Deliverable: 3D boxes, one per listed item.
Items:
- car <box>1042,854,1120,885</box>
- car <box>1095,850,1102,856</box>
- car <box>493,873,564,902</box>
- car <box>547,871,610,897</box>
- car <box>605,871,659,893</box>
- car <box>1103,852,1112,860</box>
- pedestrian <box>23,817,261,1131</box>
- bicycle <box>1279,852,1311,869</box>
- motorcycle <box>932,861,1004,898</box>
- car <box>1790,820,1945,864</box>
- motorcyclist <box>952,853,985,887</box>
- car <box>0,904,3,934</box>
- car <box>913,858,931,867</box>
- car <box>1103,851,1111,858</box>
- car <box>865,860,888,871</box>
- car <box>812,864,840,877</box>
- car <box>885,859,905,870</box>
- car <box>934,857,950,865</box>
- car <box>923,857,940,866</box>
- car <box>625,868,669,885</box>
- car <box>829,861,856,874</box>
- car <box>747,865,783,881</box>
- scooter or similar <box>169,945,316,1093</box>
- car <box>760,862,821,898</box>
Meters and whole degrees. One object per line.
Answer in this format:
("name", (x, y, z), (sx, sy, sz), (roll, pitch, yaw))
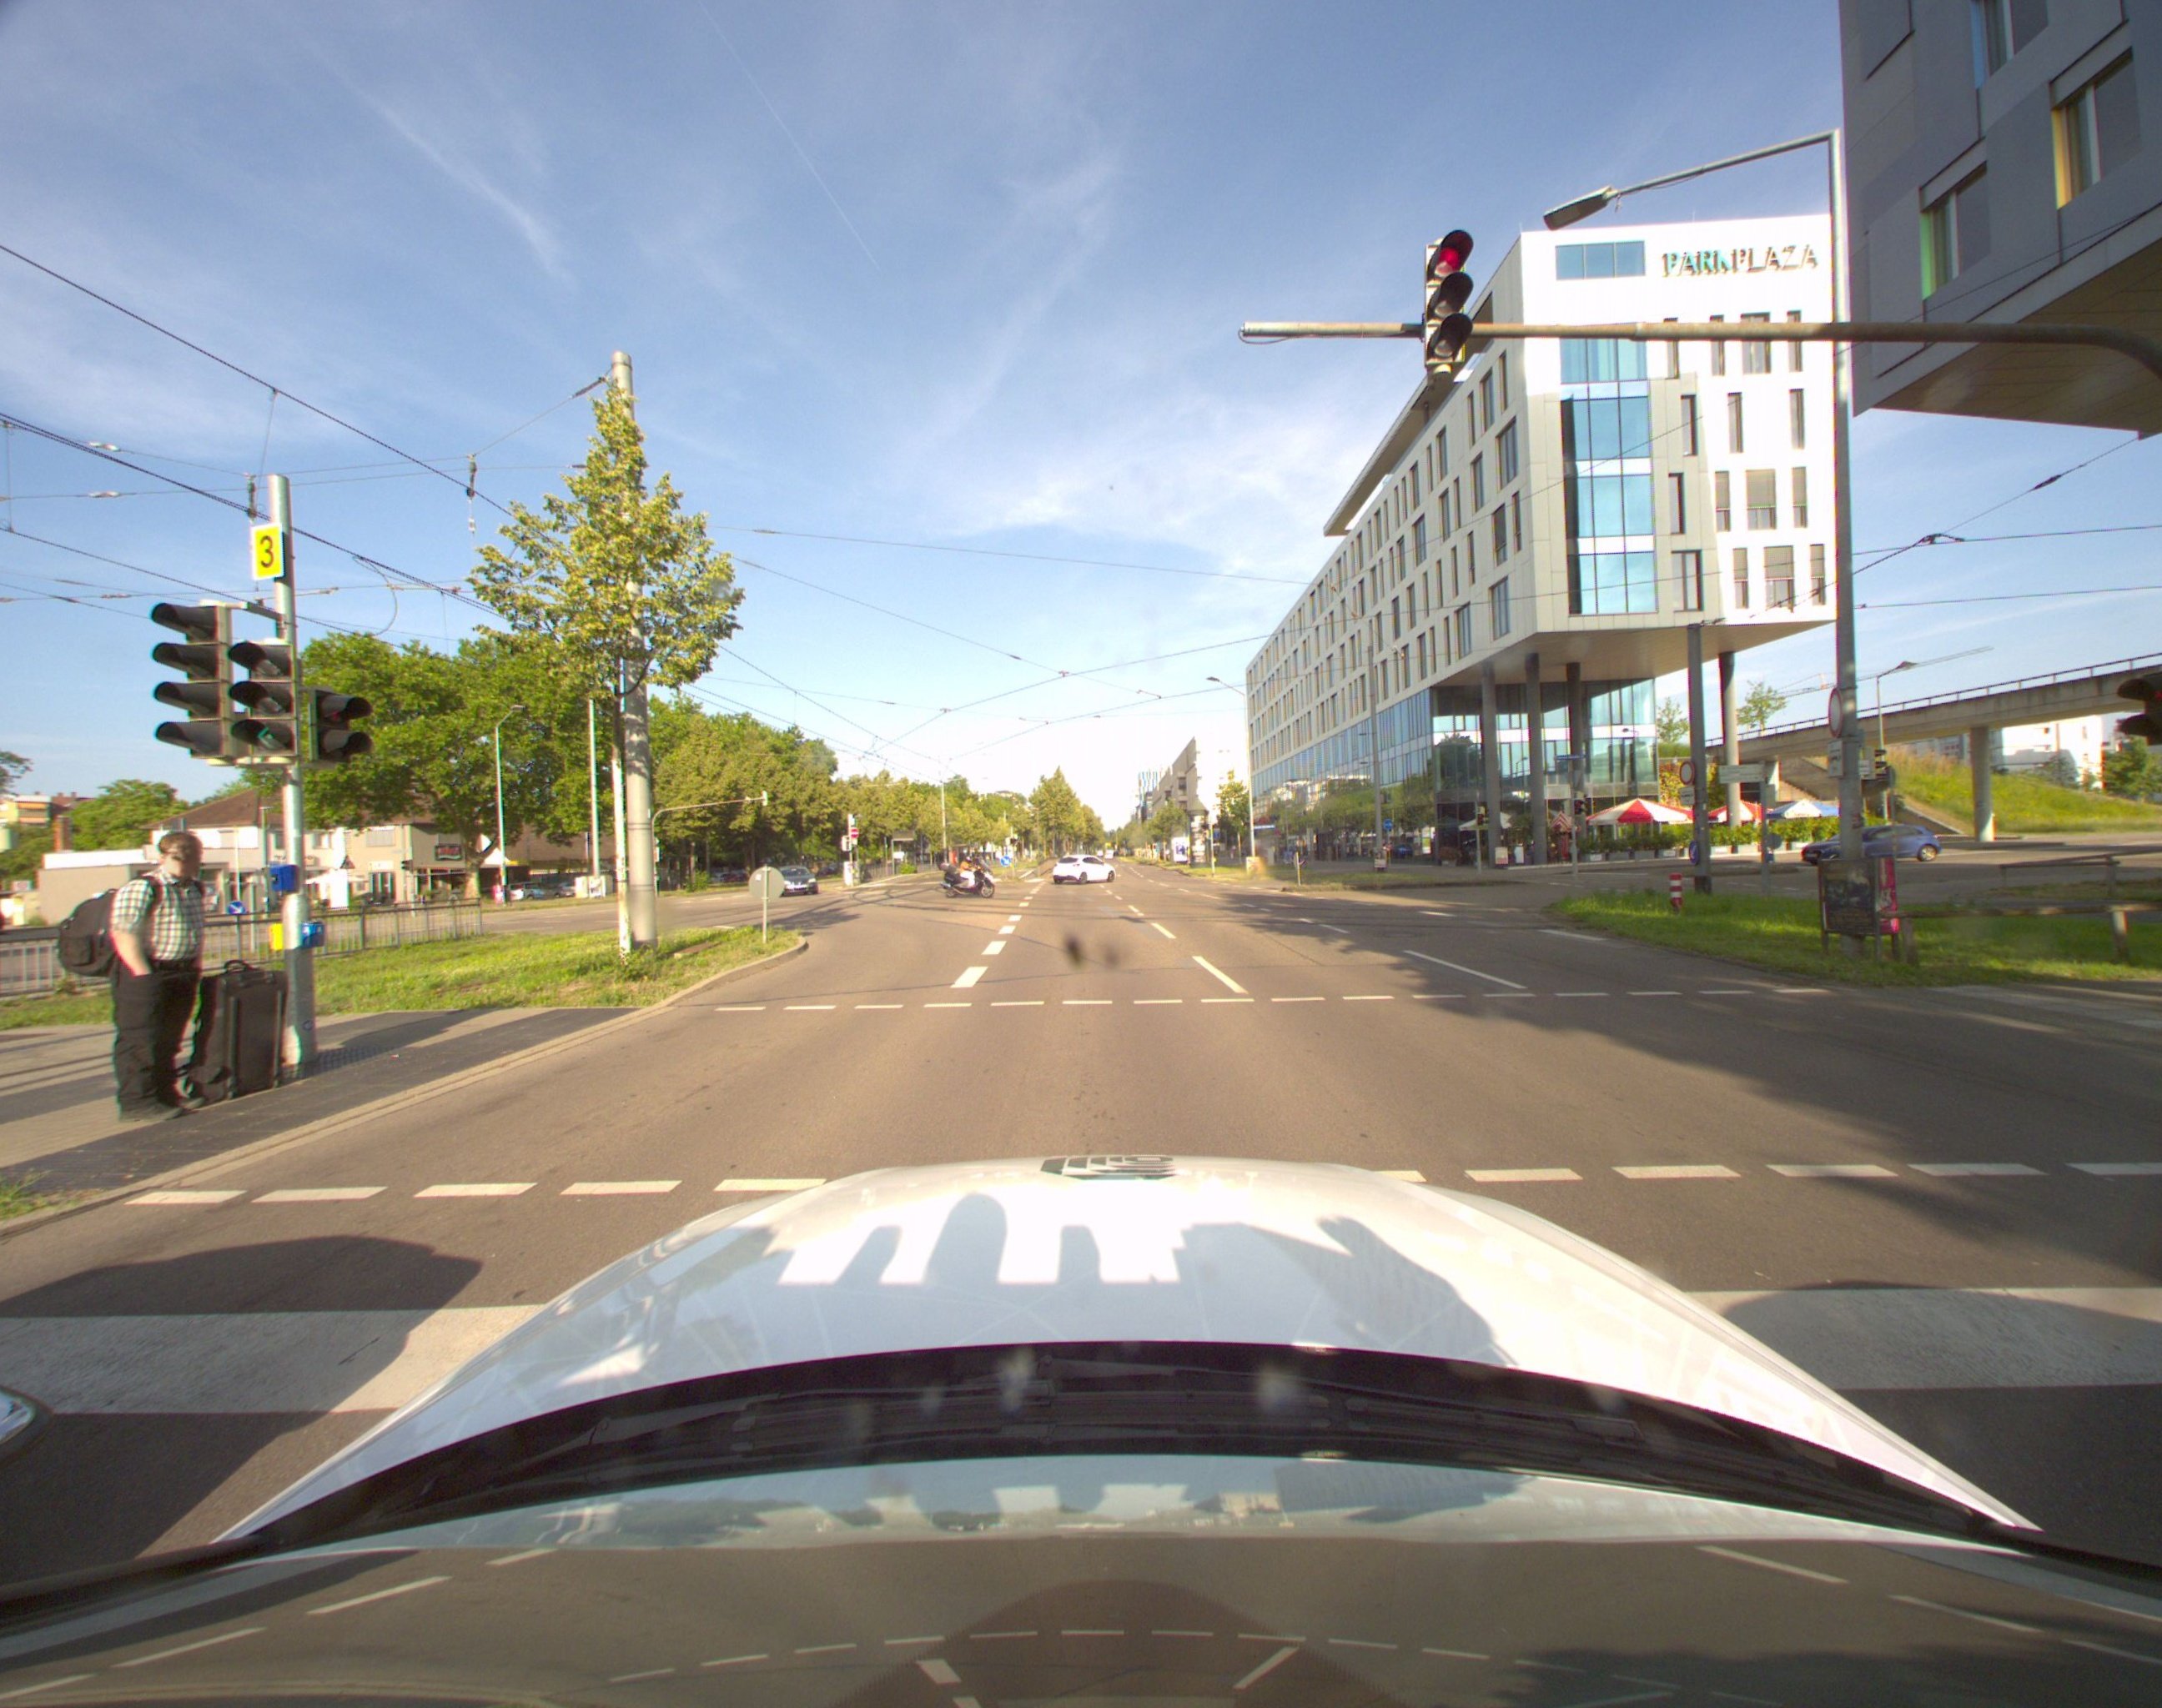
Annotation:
("car", (0.061, 0.753, 42.171), (1.974, 1.504, 4.119), (-1, 0, 36))
("car", (5.503, -0.312, 252.154), (2.007, 1.684, 4.003), (0, 1, 2))
("car", (-38.228, 2.293, 56.466), (1.871, 1.750, 4.008), (-3, 0, 7))
("car", (-37.711, 2.243, 61.217), (1.871, 1.750, 4.008), (-3, 0, 7))
("car", (-37.022, 2.274, 67.259), (1.871, 1.559, 4.008), (-3, 0, 7))
("car", (5.710, 0.393, 174.209), (1.857, 1.684, 4.003), (0, 1, 2))
("pedestrian", (-5.696, 0.686, 4.979), (0.697, 1.792, 0.636), (-1, 0, 2))
("bicycle", (13.874, 0.398, 52.828), (0.778, 1.032, 1.856), (-2, 2, -42))
("motorcycle", (-4.070, 0.900, 29.236), (2.517, 1.263, 0.826), (-1, 0, 28))
("car", (30.234, -0.464, 31.397), (4.170, 1.424, 1.859), (-3, 0, 1))
("motorcyclist", (-4.041, 0.555, 29.255), (0.837, 1.202, 0.789), (0, 0, 29))
("car", (-63.529, 3.792, 45.655), (3.964, 1.728, 2.005), (-2, 0, 8))
("car", (-28.338, 1.471, 145.223), (1.871, 1.559, 4.008), (-3, 0, 7))
("car", (6.594, 0.174, 206.347), (1.857, 1.684, 4.003), (0, 1, 2))
("car", (-30.669, 1.735, 122.129), (1.871, 1.559, 4.008), (-3, 0, 7))
("car", (-32.770, 2.088, 104.604), (1.871, 1.559, 4.008), (-3, 0, 7))
("car", (-29.704, 1.648, 130.034), (1.871, 1.559, 4.008), (-3, 0, 7))
("car", (-26.794, 1.336, 156.831), (1.871, 1.559, 4.008), (-3, 0, 7))
("car", (-27.545, 1.405, 150.421), (1.871, 1.559, 4.008), (-3, 0, 7))
("car", (-43.782, 2.218, 82.176), (1.871, 1.559, 4.008), (-3, 0, 7))
("car", (-32.101, 1.778, 109.673), (1.871, 1.559, 4.008), (-3, 0, 7))
("car", (-34.747, 2.038, 89.615), (1.871, 1.559, 4.008), (-3, 0, 7))
("scooter or similar", (-5.662, 1.100, 5.517), (0.546, 0.907, 0.430), (-1, 0, 2))
("car", (-14.072, 1.206, 39.306), (1.741, 1.461, 4.528), (-6, 3, -32))
